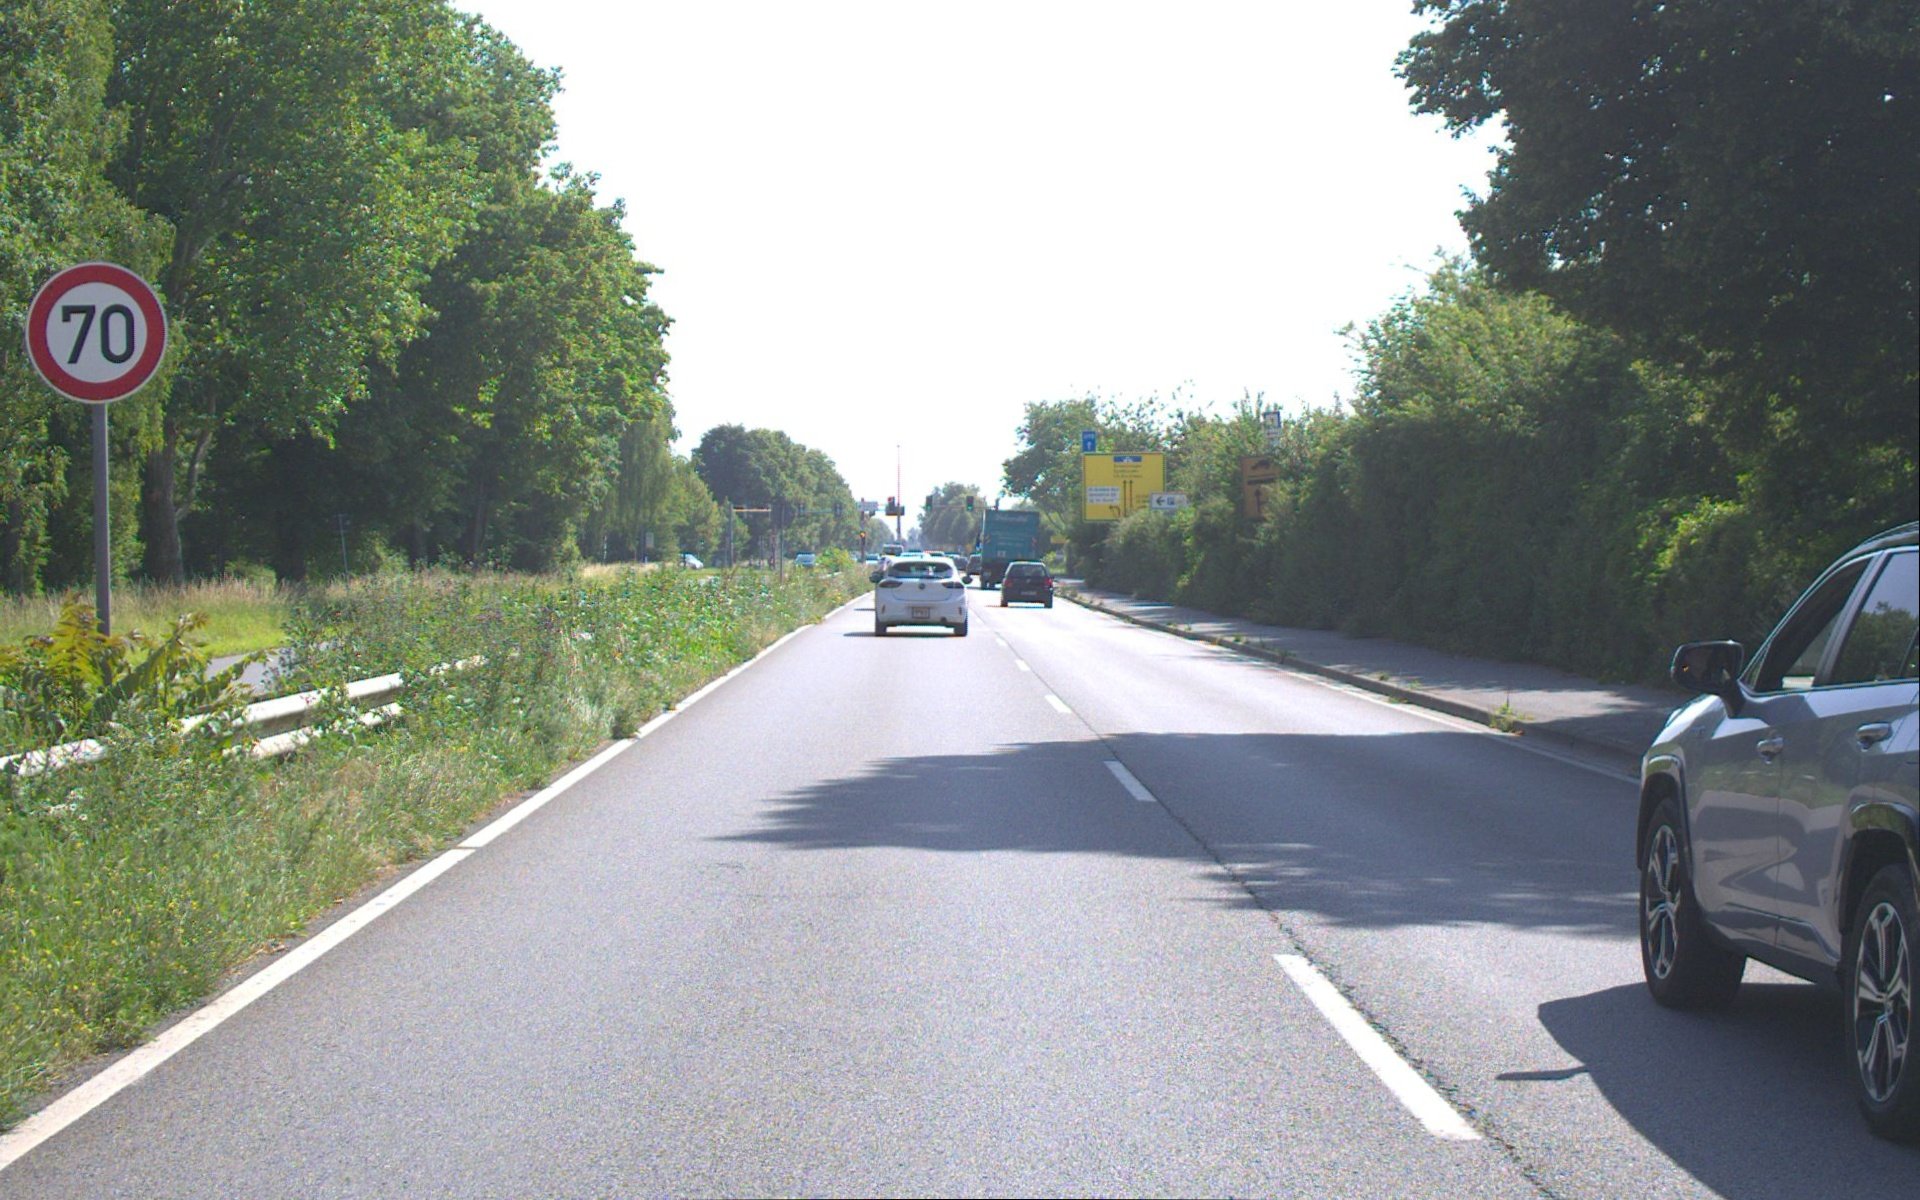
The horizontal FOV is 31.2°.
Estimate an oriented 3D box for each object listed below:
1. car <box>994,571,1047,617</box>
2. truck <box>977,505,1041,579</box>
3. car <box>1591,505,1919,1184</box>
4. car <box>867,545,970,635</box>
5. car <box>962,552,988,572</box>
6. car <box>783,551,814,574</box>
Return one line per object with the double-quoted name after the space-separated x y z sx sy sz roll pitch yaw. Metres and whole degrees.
1.896 -0.178 108.499 1.572 1.410 3.277 1 0 0 "car"
2.296 -2.769 164.899 2.891 3.417 9.169 0 1 0 "truck"
3.324 0.613 10.296 1.902 1.674 4.683 2 1 -1 "car"
-0.740 -0.214 63.762 1.799 1.547 4.000 2 1 0 "car"
1.104 -2.795 253.993 1.812 1.459 4.459 0 0 2 "car"
-10.828 -2.492 230.856 1.779 1.525 4.161 0 1 2 "car"
